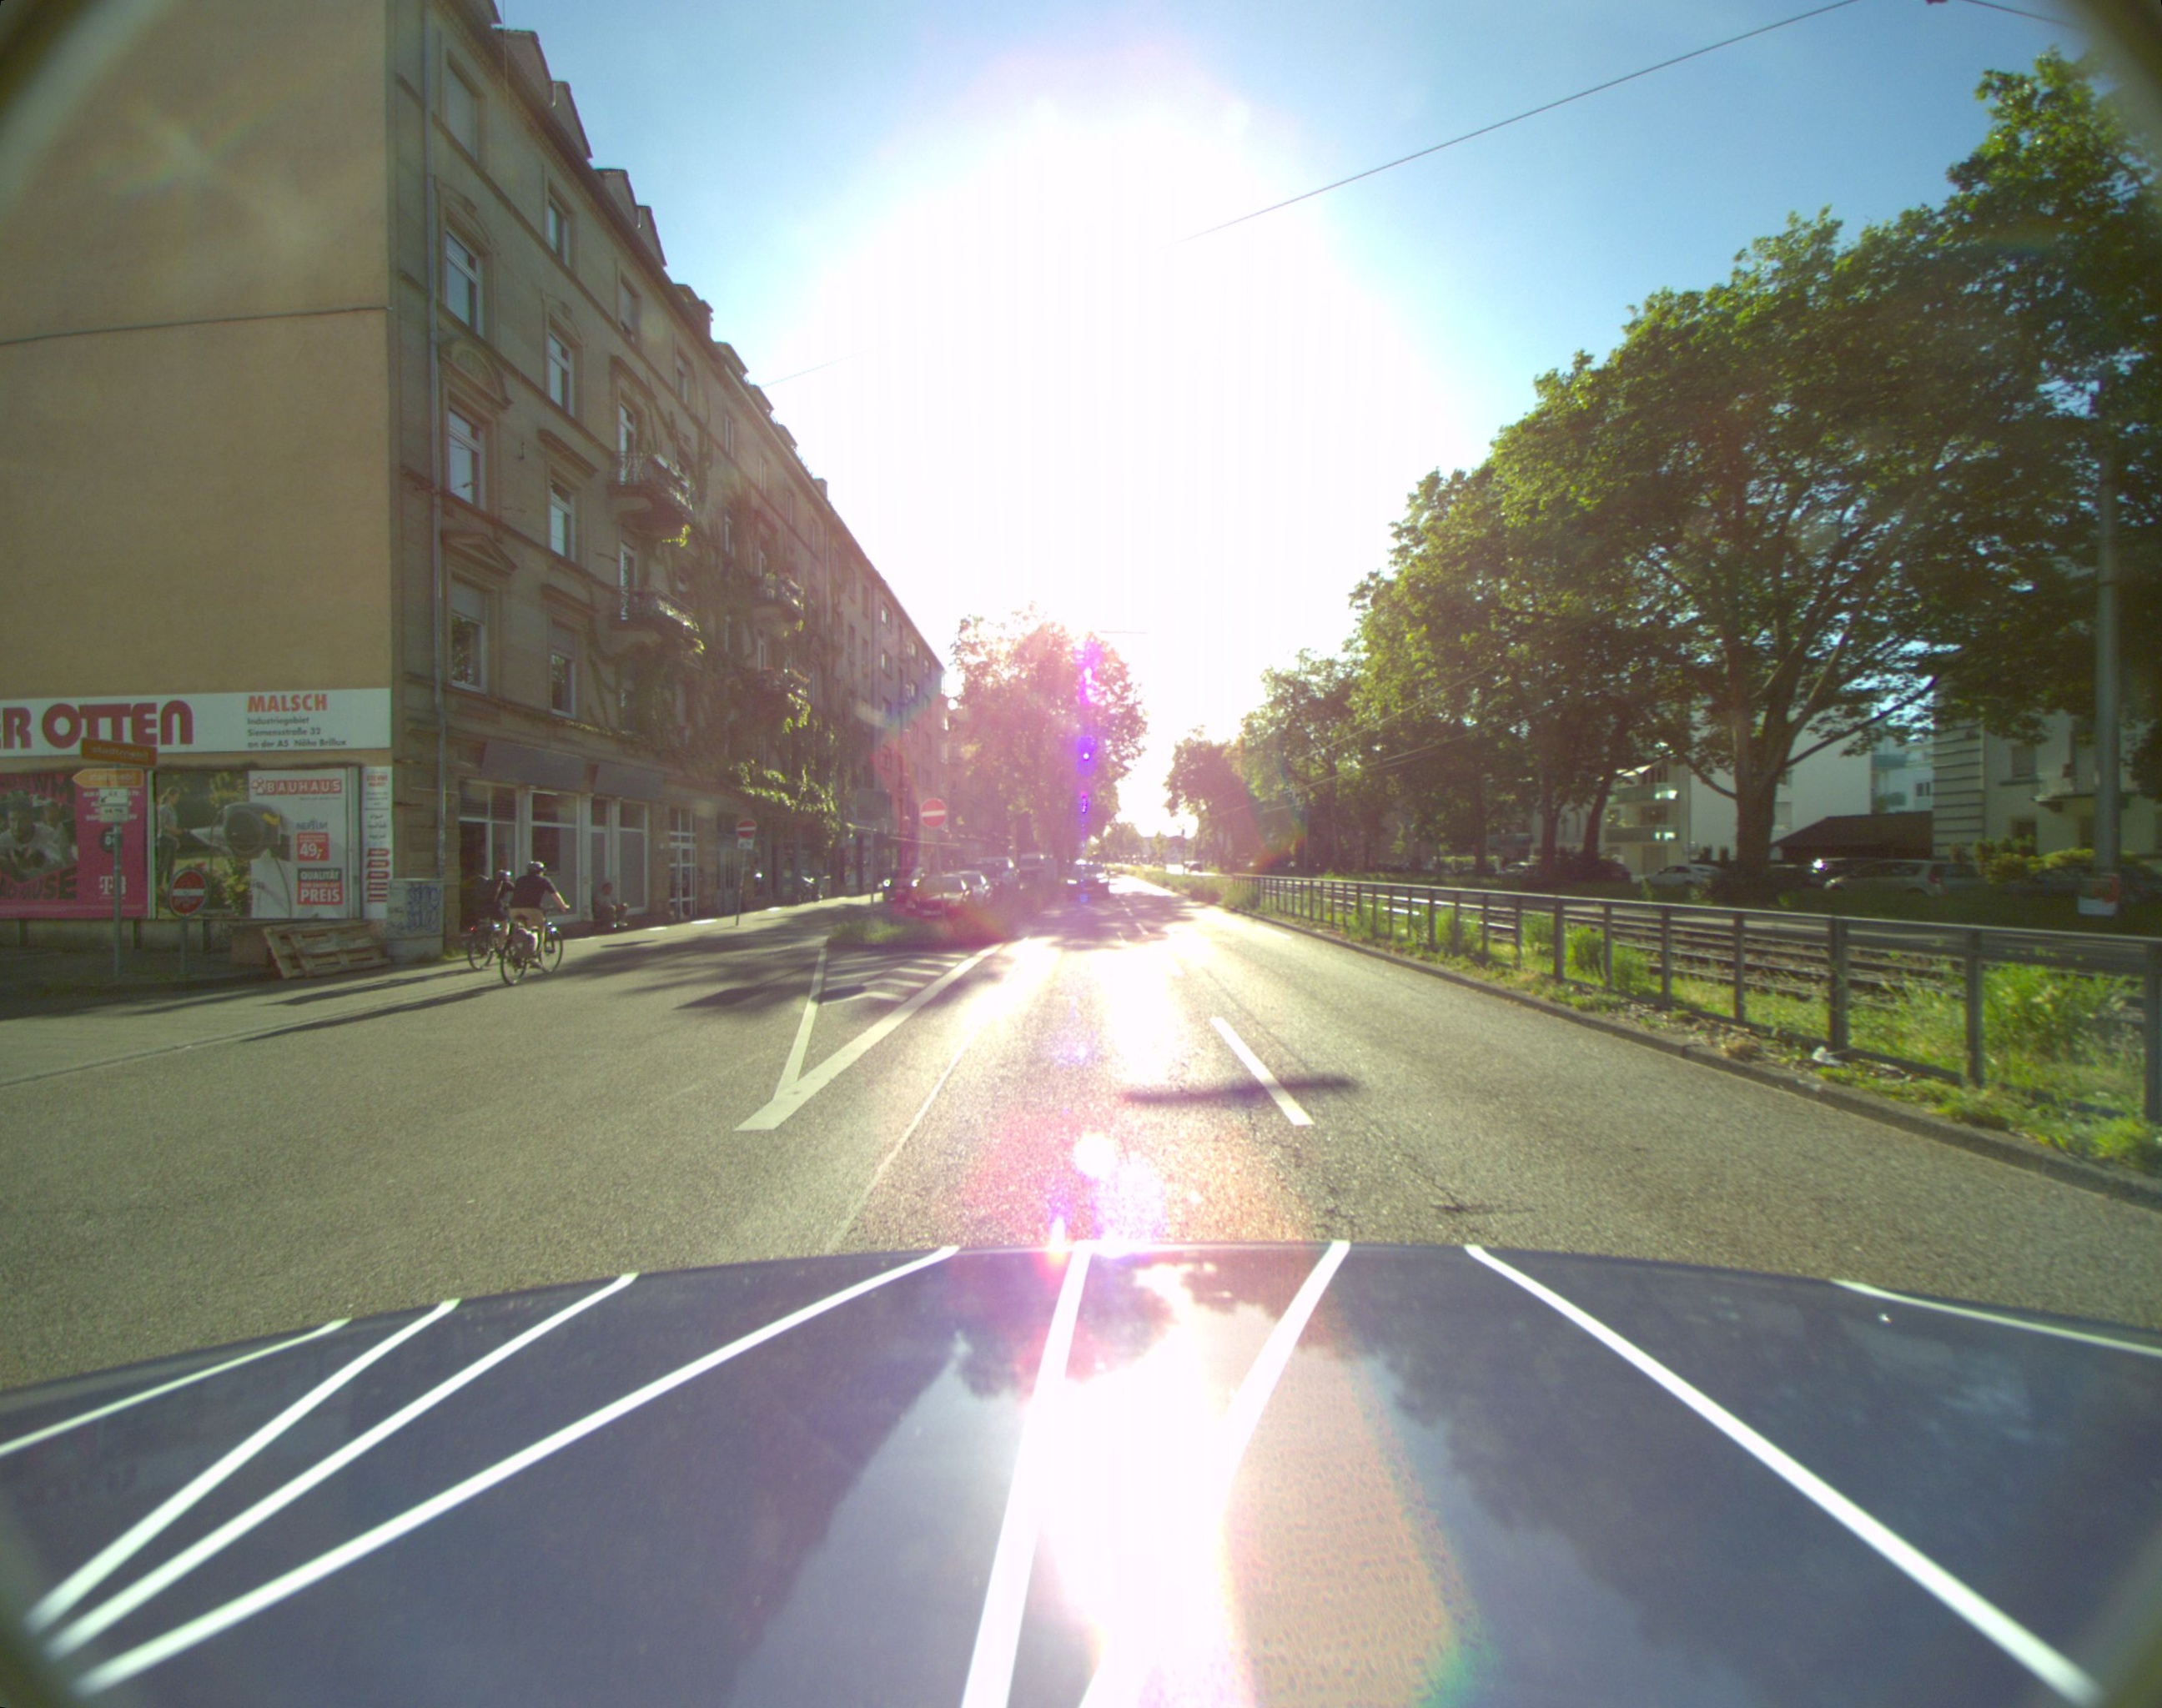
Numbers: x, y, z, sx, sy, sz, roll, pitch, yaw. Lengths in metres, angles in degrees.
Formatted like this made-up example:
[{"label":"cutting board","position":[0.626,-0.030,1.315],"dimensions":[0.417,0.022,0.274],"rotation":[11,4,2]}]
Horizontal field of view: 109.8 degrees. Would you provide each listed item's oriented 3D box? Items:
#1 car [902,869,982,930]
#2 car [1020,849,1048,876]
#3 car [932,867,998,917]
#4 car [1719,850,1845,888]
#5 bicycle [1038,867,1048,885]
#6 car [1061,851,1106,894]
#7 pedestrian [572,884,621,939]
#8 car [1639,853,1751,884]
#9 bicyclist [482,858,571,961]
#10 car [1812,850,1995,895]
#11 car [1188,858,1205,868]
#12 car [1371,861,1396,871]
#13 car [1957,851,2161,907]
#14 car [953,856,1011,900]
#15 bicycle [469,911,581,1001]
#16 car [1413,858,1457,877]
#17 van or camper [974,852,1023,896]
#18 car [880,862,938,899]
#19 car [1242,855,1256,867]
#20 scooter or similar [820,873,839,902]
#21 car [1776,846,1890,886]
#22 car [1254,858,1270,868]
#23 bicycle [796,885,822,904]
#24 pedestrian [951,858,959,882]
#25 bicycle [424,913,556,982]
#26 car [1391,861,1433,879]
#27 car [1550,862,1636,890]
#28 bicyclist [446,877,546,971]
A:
[{"label":"car","position":[-4.058,1.284,22.757],"dimensions":[1.645,1.508,4.000],"rotation":[-3,0,-1]},{"label":"car","position":[-4.329,0.792,71.065],"dimensions":[2.079,2.420,5.856],"rotation":[-1,0,1]},{"label":"car","position":[-4.074,1.281,27.208],"dimensions":[1.743,1.508,4.000],"rotation":[-3,0,-1]},{"label":"car","position":[28.487,0.570,31.024],"dimensions":[1.779,1.456,3.698],"rotation":[0,0,1]},{"label":"bicycle","position":[-2.641,1.538,53.288],"dimensions":[0.466,1.206,1.751],"rotation":[0,0,5]},{"label":"car","position":[0.166,0.822,35.549],"dimensions":[1.876,1.788,4.633],"rotation":[-2,0,1]},{"label":"pedestrian","position":[-11.592,1.368,18.211],"dimensions":[0.717,1.253,0.713],"rotation":[0,0,1]},{"label":"car","position":[28.528,0.666,35.500],"dimensions":[1.644,1.316,4.461],"rotation":[1,0,1]},{"label":"bicyclist","position":[-8.374,0.807,11.516],"dimensions":[0.747,1.453,0.950],"rotation":[-2,1,-16]},{"label":"car","position":[28.389,0.603,26.469],"dimensions":[1.739,1.432,4.319],"rotation":[0,0,1]},{"label":"car","position":[17.978,1.380,118.225],"dimensions":[1.862,1.637,4.460],"rotation":[0,0,-1]},{"label":"car","position":[28.381,1.088,71.328],"dimensions":[1.109,0.871,3.060],"rotation":[-1,0,1]},{"label":"car","position":[28.191,0.640,21.626],"dimensions":[1.788,1.432,4.320],"rotation":[-1,0,5]},{"label":"car","position":[-4.160,0.966,32.438],"dimensions":[1.869,1.753,4.000],"rotation":[0,0,1]},{"label":"bicycle","position":[-8.357,1.481,11.522],"dimensions":[0.759,1.095,1.951],"rotation":[0,0,-17]},{"label":"car","position":[28.576,1.099,61.439],"dimensions":[1.801,1.464,4.000],"rotation":[0,0,1]},{"label":"van or camper","position":[-4.049,0.943,37.953],"dimensions":[1.888,2.002,5.094],"rotation":[0,0,0]},{"label":"car","position":[-7.892,1.183,35.213],"dimensions":[1.702,1.519,4.380],"rotation":[-2,0,0]},{"label":"car","position":[28.795,1.205,130.316],"dimensions":[1.998,2.002,4.002],"rotation":[0,0,5]},{"label":"scooter or similar","position":[-10.726,1.430,32.379],"dimensions":[0.638,1.166,1.731],"rotation":[0,0,-24]},{"label":"car","position":[37.169,0.584,37.702],"dimensions":[1.853,1.849,3.821],"rotation":[0,0,0]},{"label":"car","position":[28.517,1.413,119.726],"dimensions":[1.771,1.477,3.688],"rotation":[0,0,1]},{"label":"bicycle","position":[-11.049,1.644,30.888],"dimensions":[0.469,0.701,1.513],"rotation":[-1,0,1]},{"label":"pedestrian","position":[-9.759,1.256,58.902],"dimensions":[0.470,1.822,0.516],"rotation":[-1,0,1]},{"label":"bicycle","position":[-9.879,1.527,12.808],"dimensions":[0.651,0.914,1.918],"rotation":[3,0,2]},{"label":"car","position":[28.816,1.402,66.246],"dimensions":[1.998,1.477,4.000],"rotation":[0,0,1]},{"label":"car","position":[28.420,1.172,42.351],"dimensions":[1.998,1.444,4.319],"rotation":[0,0,1]},{"label":"bicyclist","position":[-9.800,1.138,12.784],"dimensions":[0.678,1.437,1.182],"rotation":[3,0,1]}]
